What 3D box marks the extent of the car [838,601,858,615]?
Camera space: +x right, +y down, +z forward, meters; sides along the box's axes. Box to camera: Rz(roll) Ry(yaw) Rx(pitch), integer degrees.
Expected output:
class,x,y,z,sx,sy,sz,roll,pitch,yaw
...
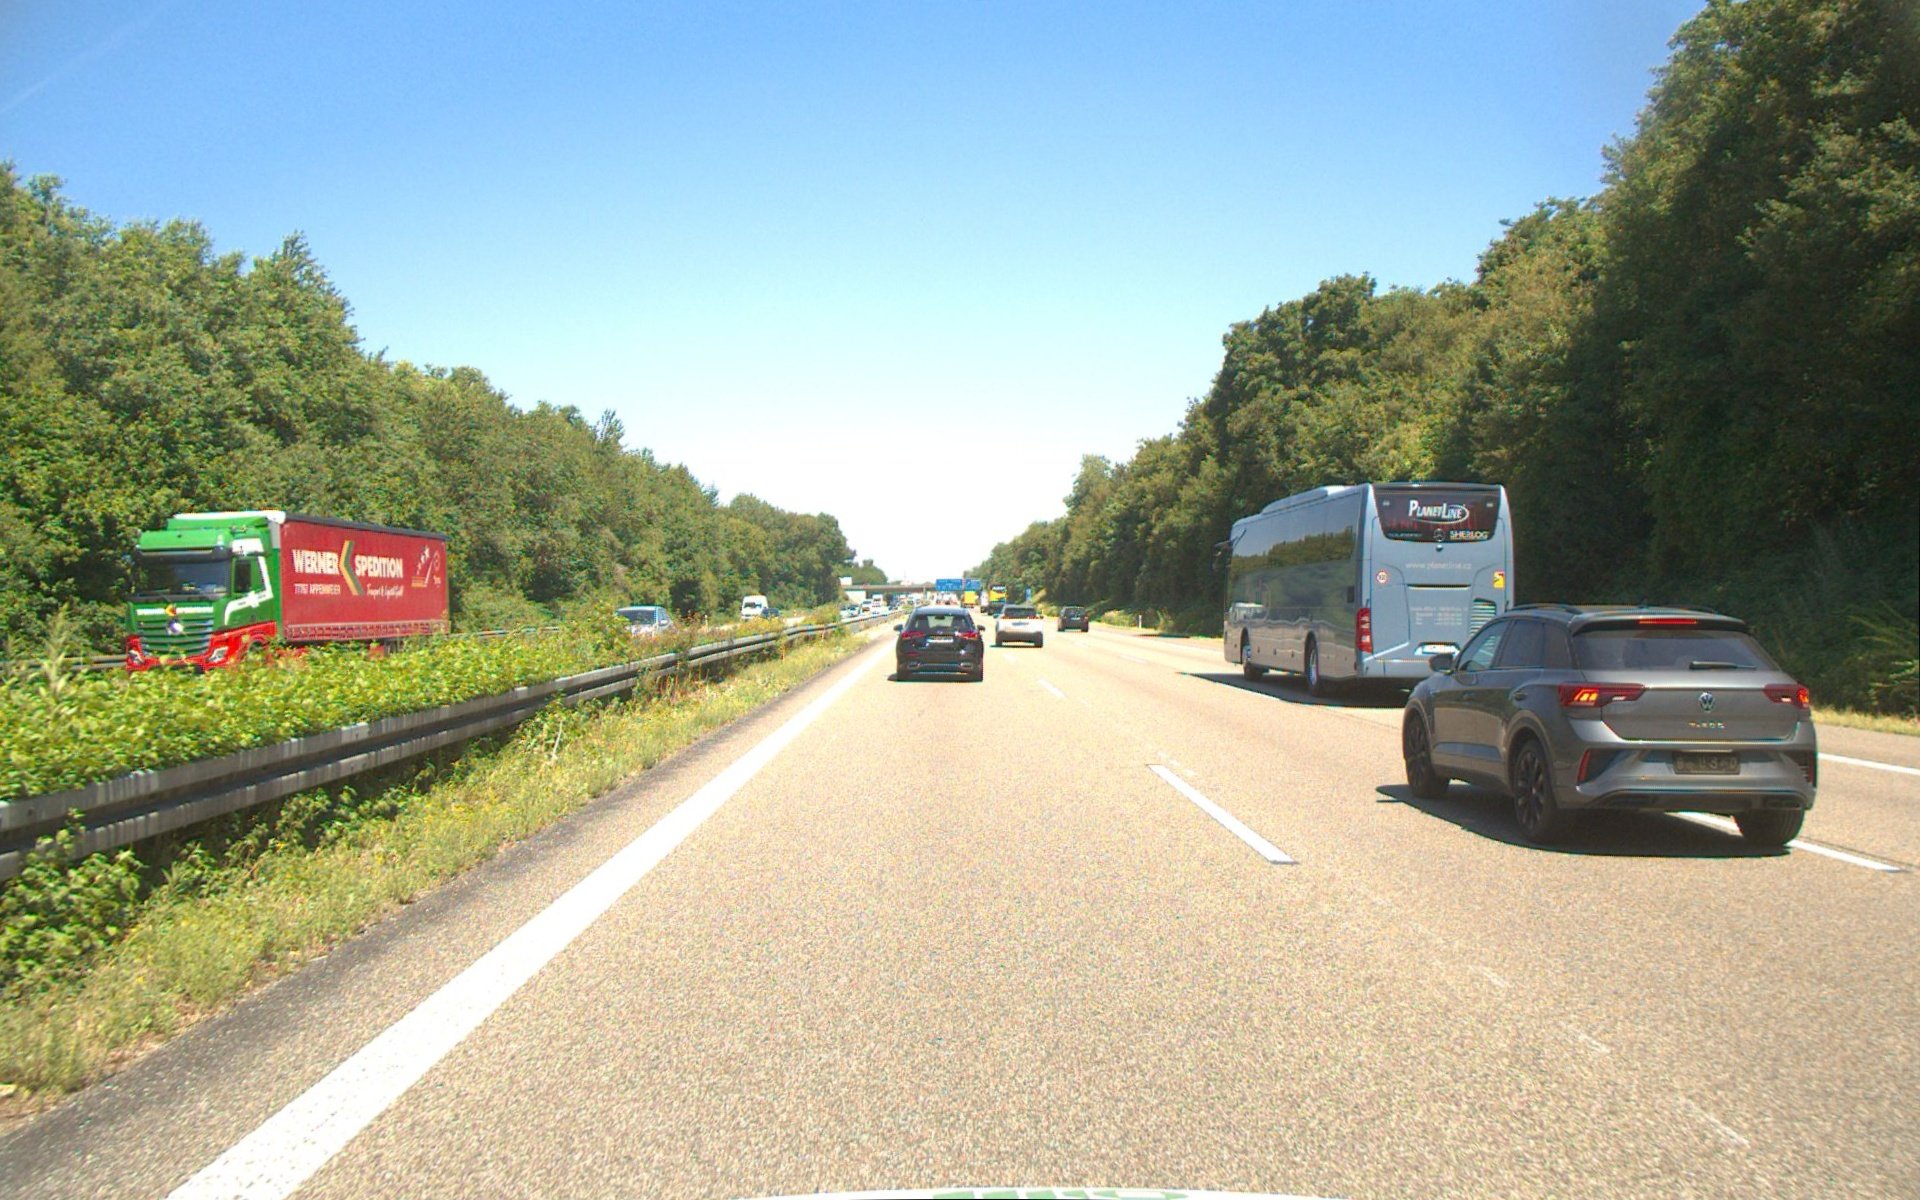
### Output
class,x,y,z,sx,sy,sz,roll,pitch,yaw
car,-11.860,0.855,175.035,1.801,1.407,4.427,-2,0,-1

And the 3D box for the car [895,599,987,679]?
class,x,y,z,sx,sy,sz,roll,pitch,yaw
car,-0.432,0.748,34.042,1.763,1.528,4.240,0,0,-2

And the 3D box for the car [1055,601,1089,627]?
class,x,y,z,sx,sy,sz,roll,pitch,yaw
car,6.676,0.796,98.711,1.753,1.487,3.949,0,0,0

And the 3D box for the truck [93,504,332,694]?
class,x,y,z,sx,sy,sz,roll,pitch,yaw
truck,-17.564,-0.021,39.325,3.152,4.130,5.617,-1,0,-1

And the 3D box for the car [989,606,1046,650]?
class,x,y,z,sx,sy,sz,roll,pitch,yaw
car,2.137,1.014,62.463,1.861,1.559,4.240,0,0,-2

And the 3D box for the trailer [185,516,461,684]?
class,x,y,z,sx,sy,sz,roll,pitch,yaw
trailer,-17.720,0.003,47.398,3.152,4.130,12.738,-1,0,-1

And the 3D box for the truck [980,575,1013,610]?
class,x,y,z,sx,sy,sz,roll,pitch,yaw
truck,4.897,-0.970,225.803,3.574,4.670,15.760,1,0,-2

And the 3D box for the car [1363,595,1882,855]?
class,x,y,z,sx,sy,sz,roll,pitch,yaw
car,4.587,0.750,12.364,1.861,1.559,4.758,0,0,-2

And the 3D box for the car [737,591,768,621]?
class,x,y,z,sx,sy,sz,roll,pitch,yaw
car,-18.717,0.512,149.335,2.045,2.597,6.226,-2,0,-1

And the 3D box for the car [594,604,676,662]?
class,x,y,z,sx,sy,sz,roll,pitch,yaw
car,-9.249,0.894,47.397,1.634,1.538,4.517,-1,0,-3

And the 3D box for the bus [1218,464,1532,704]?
class,x,y,z,sx,sy,sz,roll,pitch,yaw
bus,7.326,-0.242,31.563,2.745,3.659,12.472,0,0,-1

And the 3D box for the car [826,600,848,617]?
class,x,y,z,sx,sy,sz,roll,pitch,yaw
car,-11.164,0.796,150.648,1.811,1.475,4.206,-2,0,-2

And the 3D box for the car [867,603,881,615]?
class,x,y,z,sx,sy,sz,roll,pitch,yaw
car,-11.937,1.287,229.003,1.783,1.550,4.821,-1,0,-2
